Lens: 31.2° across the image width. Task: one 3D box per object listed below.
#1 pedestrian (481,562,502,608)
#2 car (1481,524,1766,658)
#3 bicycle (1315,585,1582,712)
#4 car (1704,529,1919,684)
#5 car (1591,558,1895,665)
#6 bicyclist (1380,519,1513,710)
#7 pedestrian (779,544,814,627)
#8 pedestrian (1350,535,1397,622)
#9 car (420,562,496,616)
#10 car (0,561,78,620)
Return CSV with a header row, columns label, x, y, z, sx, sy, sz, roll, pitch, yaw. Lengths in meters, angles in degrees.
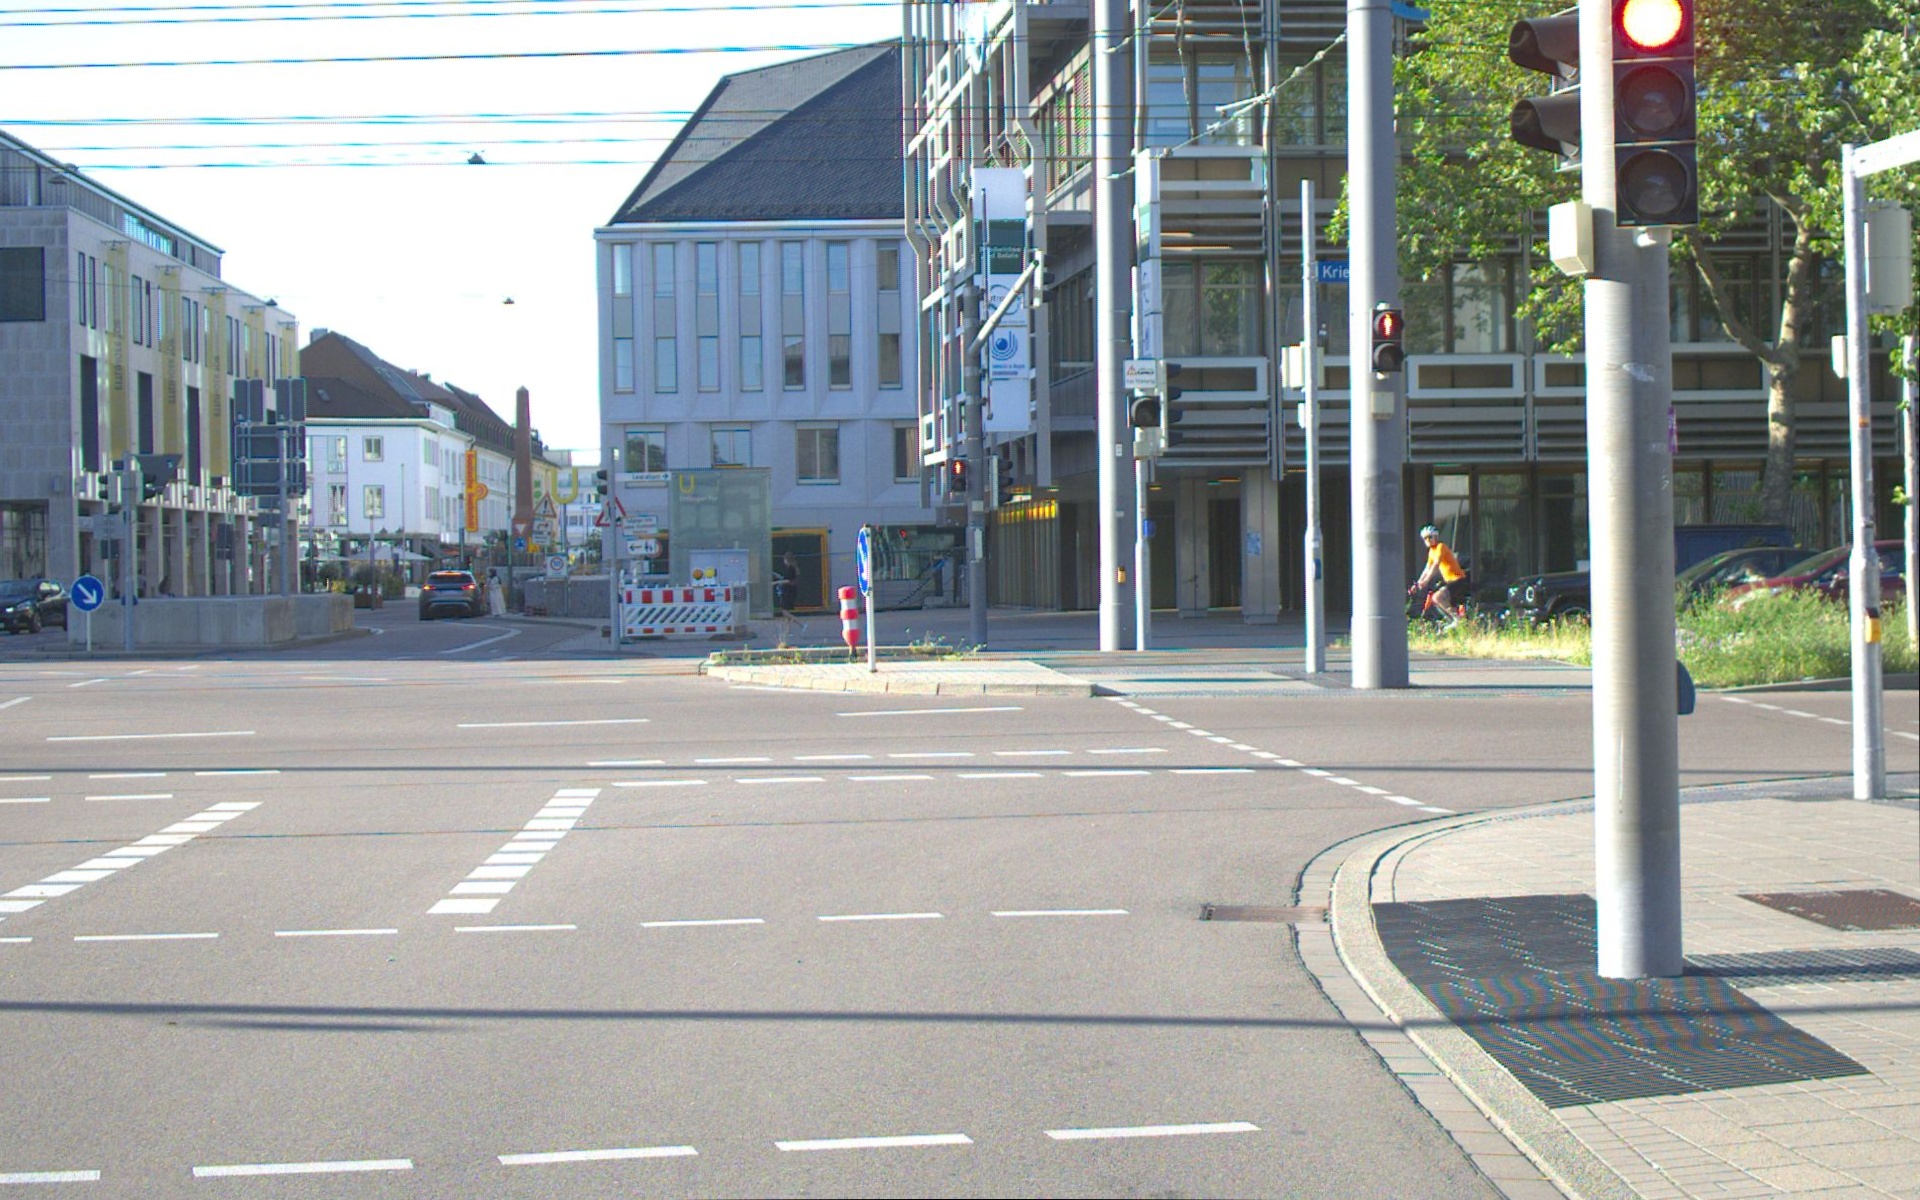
label,x,y,z,sx,sy,sz,roll,pitch,yaw
pedestrian,-14.751,-0.474,108.247,0.609,1.406,0.570,-1,1,-6
car,10.348,-0.144,53.778,3.986,2.007,2.000,1,0,-3
bicycle,6.697,0.648,47.147,3.490,1.653,0.932,-1,1,-9
car,12.291,0.087,46.410,3.986,2.007,2.000,1,0,-3
car,11.497,0.157,50.661,3.986,1.503,1.868,0,1,-3
bicyclist,6.665,0.189,47.140,1.567,2.571,0.932,-1,1,-9
pedestrian,-3.302,-0.303,69.442,0.663,1.652,0.755,-1,1,-3
pedestrian,7.948,-0.408,66.105,0.729,1.652,0.651,-1,1,-7
car,-15.805,-0.355,108.423,2.199,1.601,4.327,-1,1,-6
car,-24.653,-0.262,90.322,1.993,1.481,4.000,-1,1,-2
